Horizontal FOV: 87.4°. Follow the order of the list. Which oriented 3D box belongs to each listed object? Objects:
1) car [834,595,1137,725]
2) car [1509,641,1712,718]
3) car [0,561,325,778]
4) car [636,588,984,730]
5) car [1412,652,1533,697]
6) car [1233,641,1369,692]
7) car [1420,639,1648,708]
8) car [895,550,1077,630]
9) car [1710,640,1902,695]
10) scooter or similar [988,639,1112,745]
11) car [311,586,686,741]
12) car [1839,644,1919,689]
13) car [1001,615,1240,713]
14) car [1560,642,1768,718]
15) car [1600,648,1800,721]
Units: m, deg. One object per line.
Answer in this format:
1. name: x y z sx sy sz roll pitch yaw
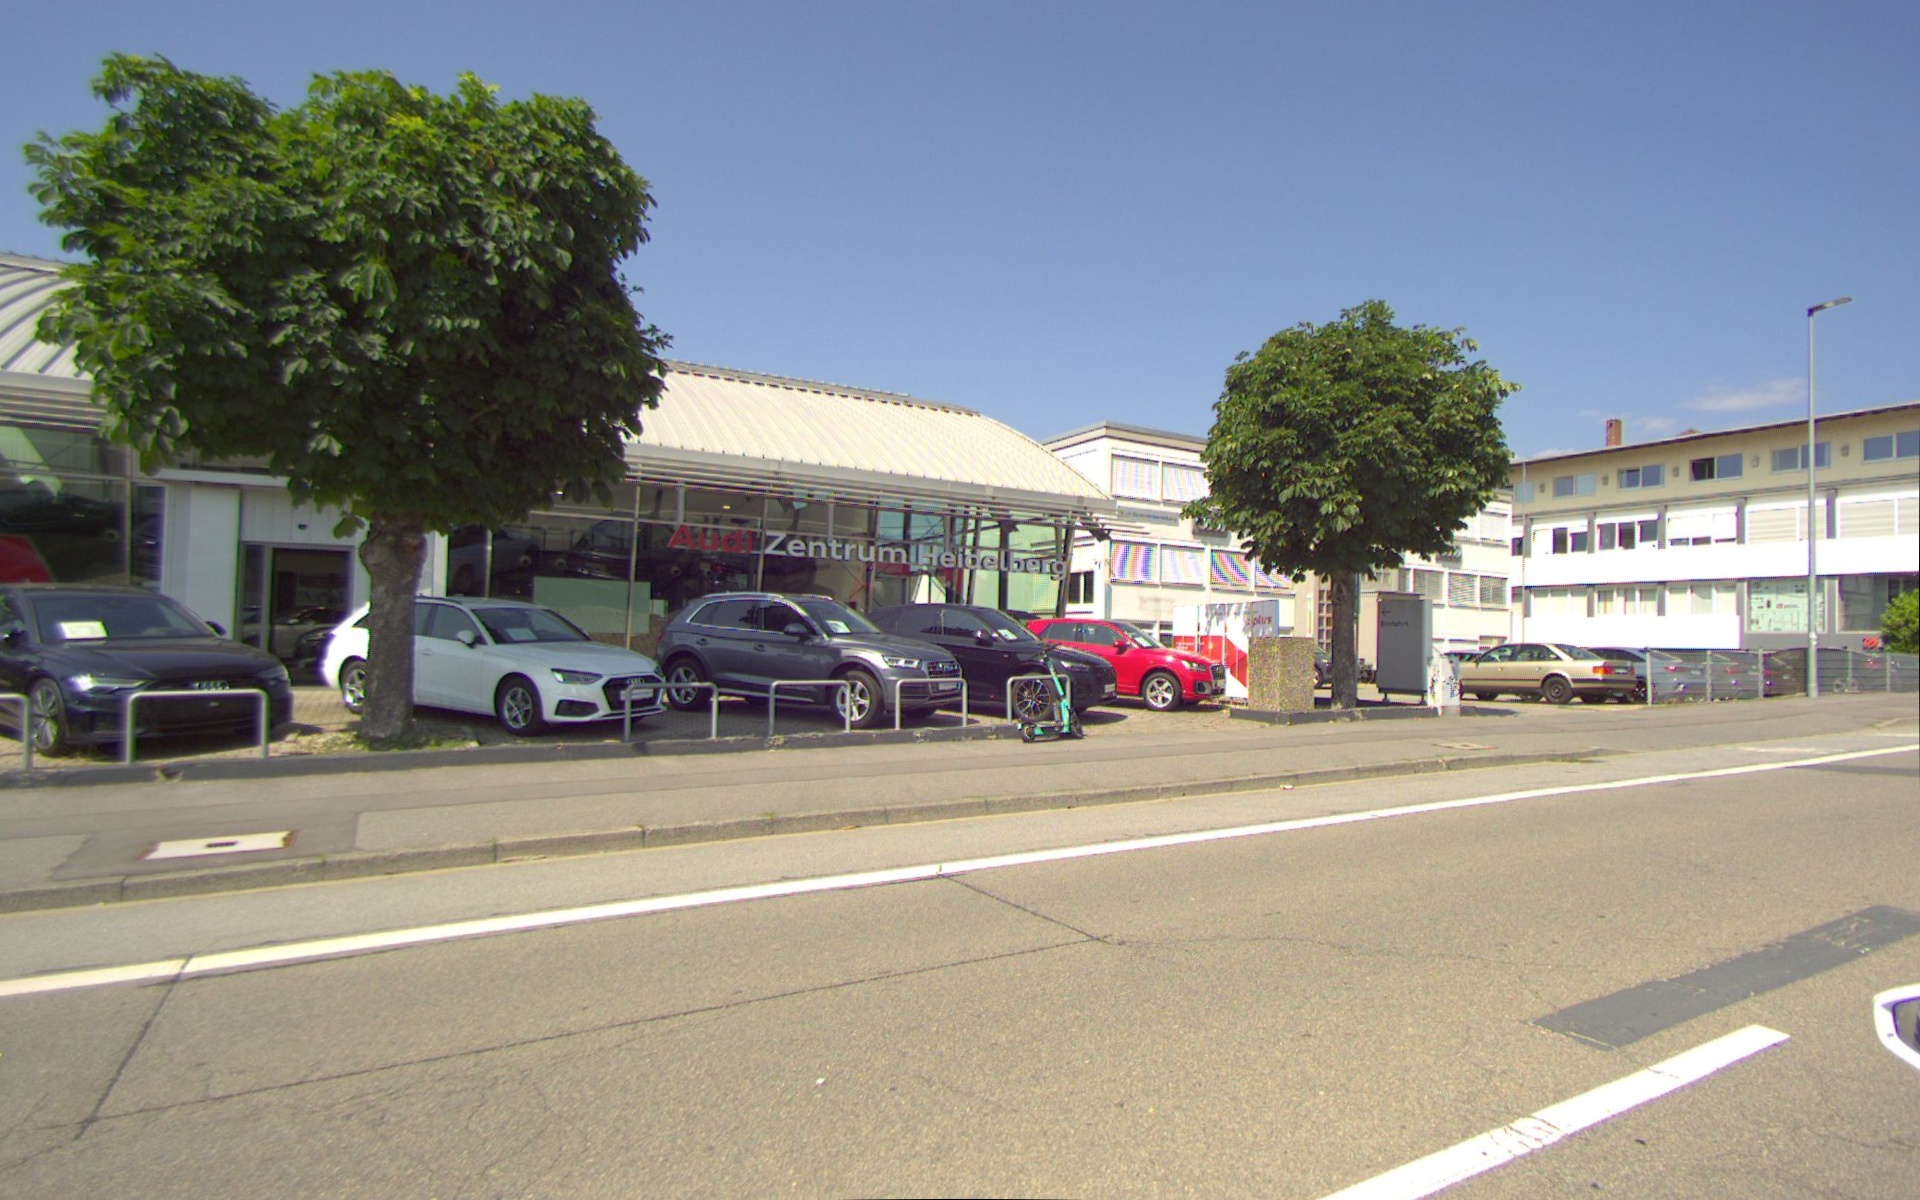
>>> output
1. car: 0.394 0.871 16.009 4.396 1.730 1.909 2 -1 25
2. car: 16.320 1.952 25.409 1.800 1.463 3.877 5 0 -26
3. car: -8.881 0.522 10.299 4.398 1.631 1.963 4 4 25
4. car: -2.102 0.726 13.958 4.494 1.719 1.858 0 -1 25
5. car: 20.300 2.914 39.940 1.838 1.566 3.967 2 -2 -31
6. car: 11.858 2.269 35.212 1.839 1.573 4.330 2 -2 -32
7. car: 13.794 1.704 24.444 1.879 1.476 4.501 2 -2 -31
8. car: 0.587 -0.187 24.014 3.936 1.706 1.993 1 -2 -17
9. car: 26.493 2.075 31.599 1.974 1.579 4.271 2 -2 -33
10. scooter or similar: 1.159 1.139 12.820 1.477 1.264 0.738 2 -2 -38
11. car: -5.593 0.677 12.169 4.124 1.514 1.873 2 -1 25
12. car: 33.808 2.316 34.779 2.024 1.500 4.716 2 -2 -31
13. car: 2.917 1.090 18.394 3.928 1.570 1.856 0 -1 30
14. car: 18.221 2.038 26.179 1.839 1.462 3.965 5 0 -31
15. car: 20.260 2.289 27.655 1.840 1.510 3.963 5 0 -33
